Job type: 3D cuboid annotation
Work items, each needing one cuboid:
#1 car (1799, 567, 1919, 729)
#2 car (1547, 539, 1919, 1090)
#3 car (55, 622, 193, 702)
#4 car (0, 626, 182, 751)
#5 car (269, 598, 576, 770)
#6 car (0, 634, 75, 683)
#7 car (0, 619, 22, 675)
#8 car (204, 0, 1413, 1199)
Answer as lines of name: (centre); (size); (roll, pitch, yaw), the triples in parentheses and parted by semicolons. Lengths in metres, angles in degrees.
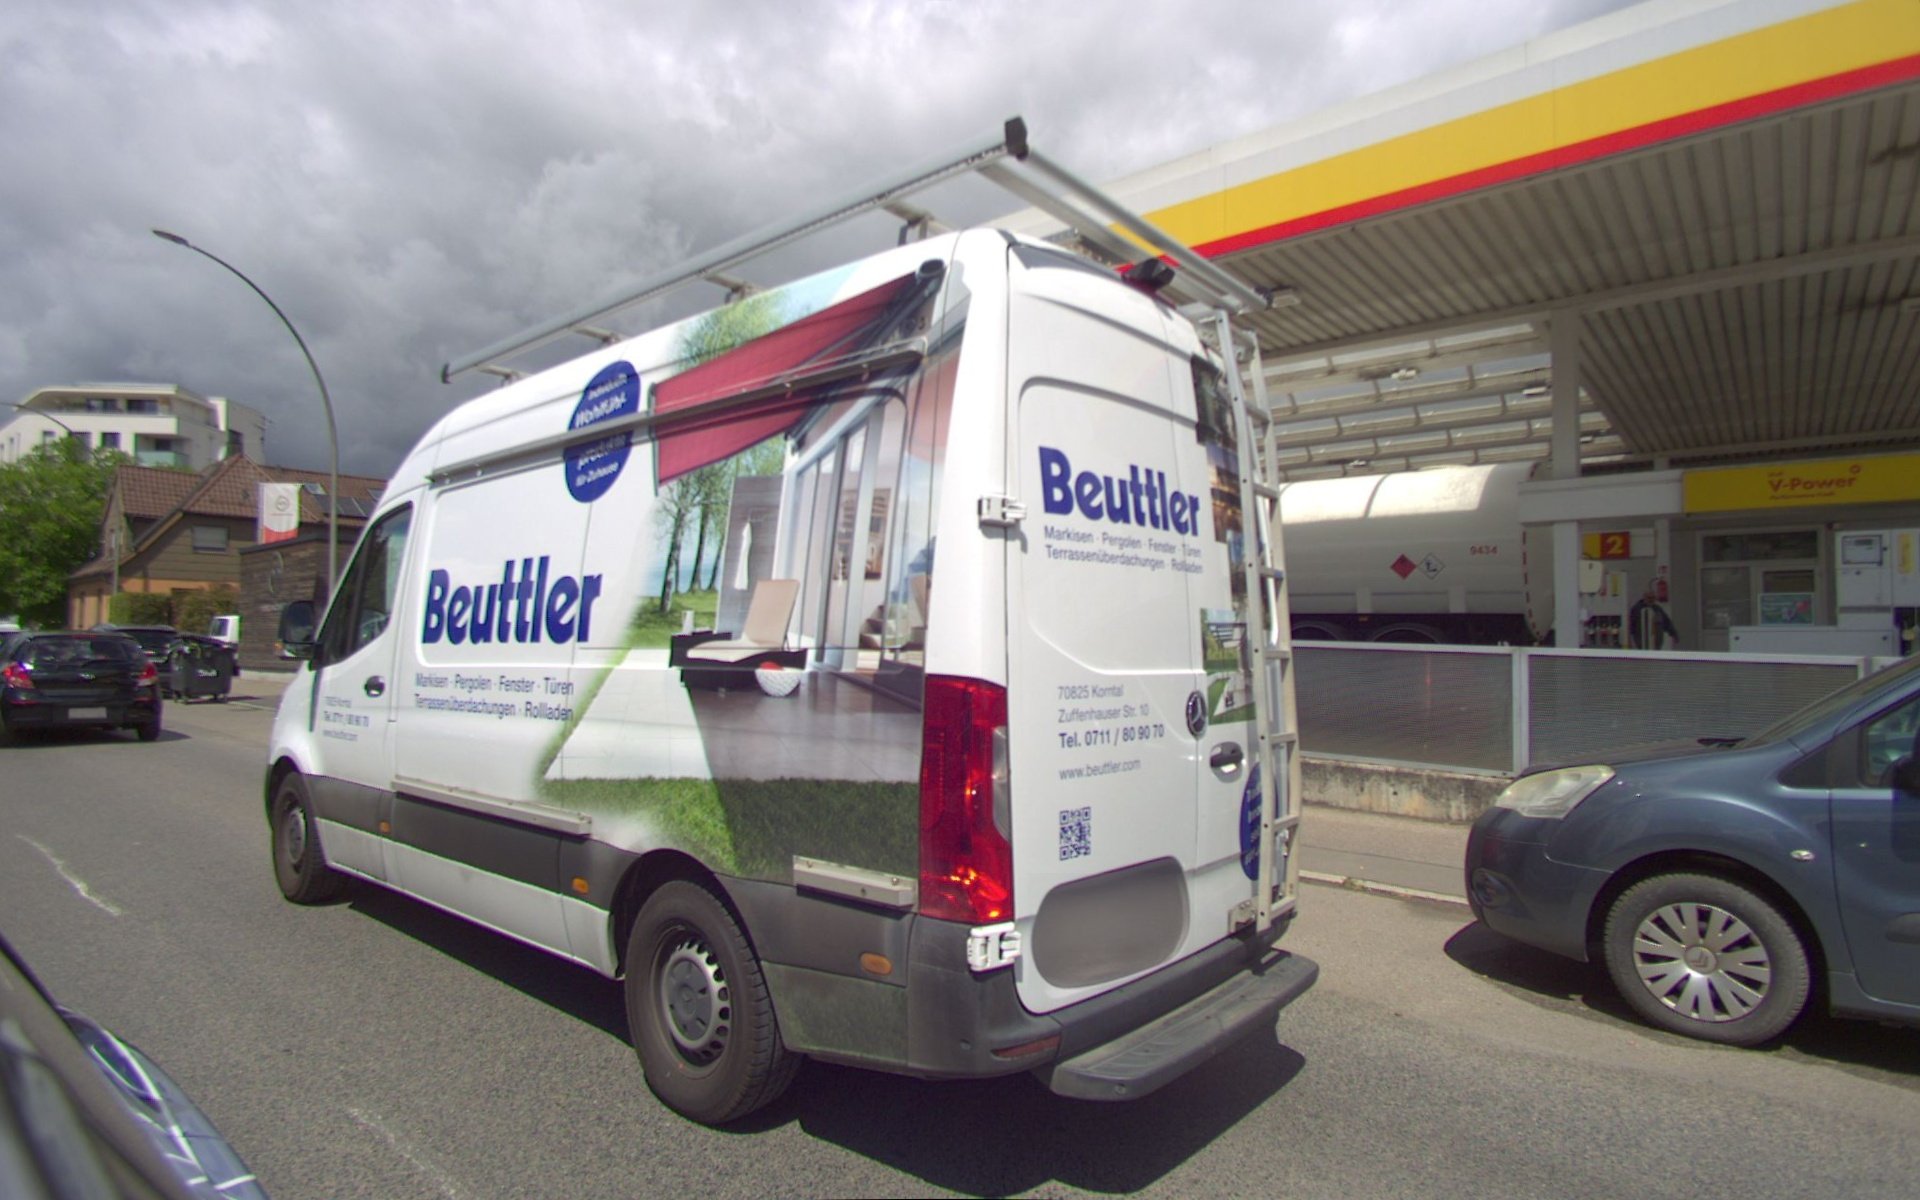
car: (12.044, 0.527, 10.759); (1.947, 1.866, 4.984); (0, -2, -2)
car: (4.421, 0.730, 3.229); (4.187, 1.751, 1.711); (-2, -6, 40)
car: (-19.904, 1.495, 24.017); (4.531, 1.718, 1.766); (-5, -4, 40)
car: (-12.486, 1.136, 14.040); (3.978, 1.485, 1.828); (-2, -4, 40)
car: (-7.059, 1.027, 13.138); (4.309, 1.882, 1.768); (-1, -6, 37)
car: (-31.755, 2.017, 34.483); (4.531, 1.514, 1.766); (-5, -4, 40)
car: (-40.272, 1.996, 41.776); (4.531, 2.196, 1.766); (-5, -4, 40)
car: (-1.411, 0.179, 4.743); (6.159, 2.787, 1.972); (-2, -4, 40)
